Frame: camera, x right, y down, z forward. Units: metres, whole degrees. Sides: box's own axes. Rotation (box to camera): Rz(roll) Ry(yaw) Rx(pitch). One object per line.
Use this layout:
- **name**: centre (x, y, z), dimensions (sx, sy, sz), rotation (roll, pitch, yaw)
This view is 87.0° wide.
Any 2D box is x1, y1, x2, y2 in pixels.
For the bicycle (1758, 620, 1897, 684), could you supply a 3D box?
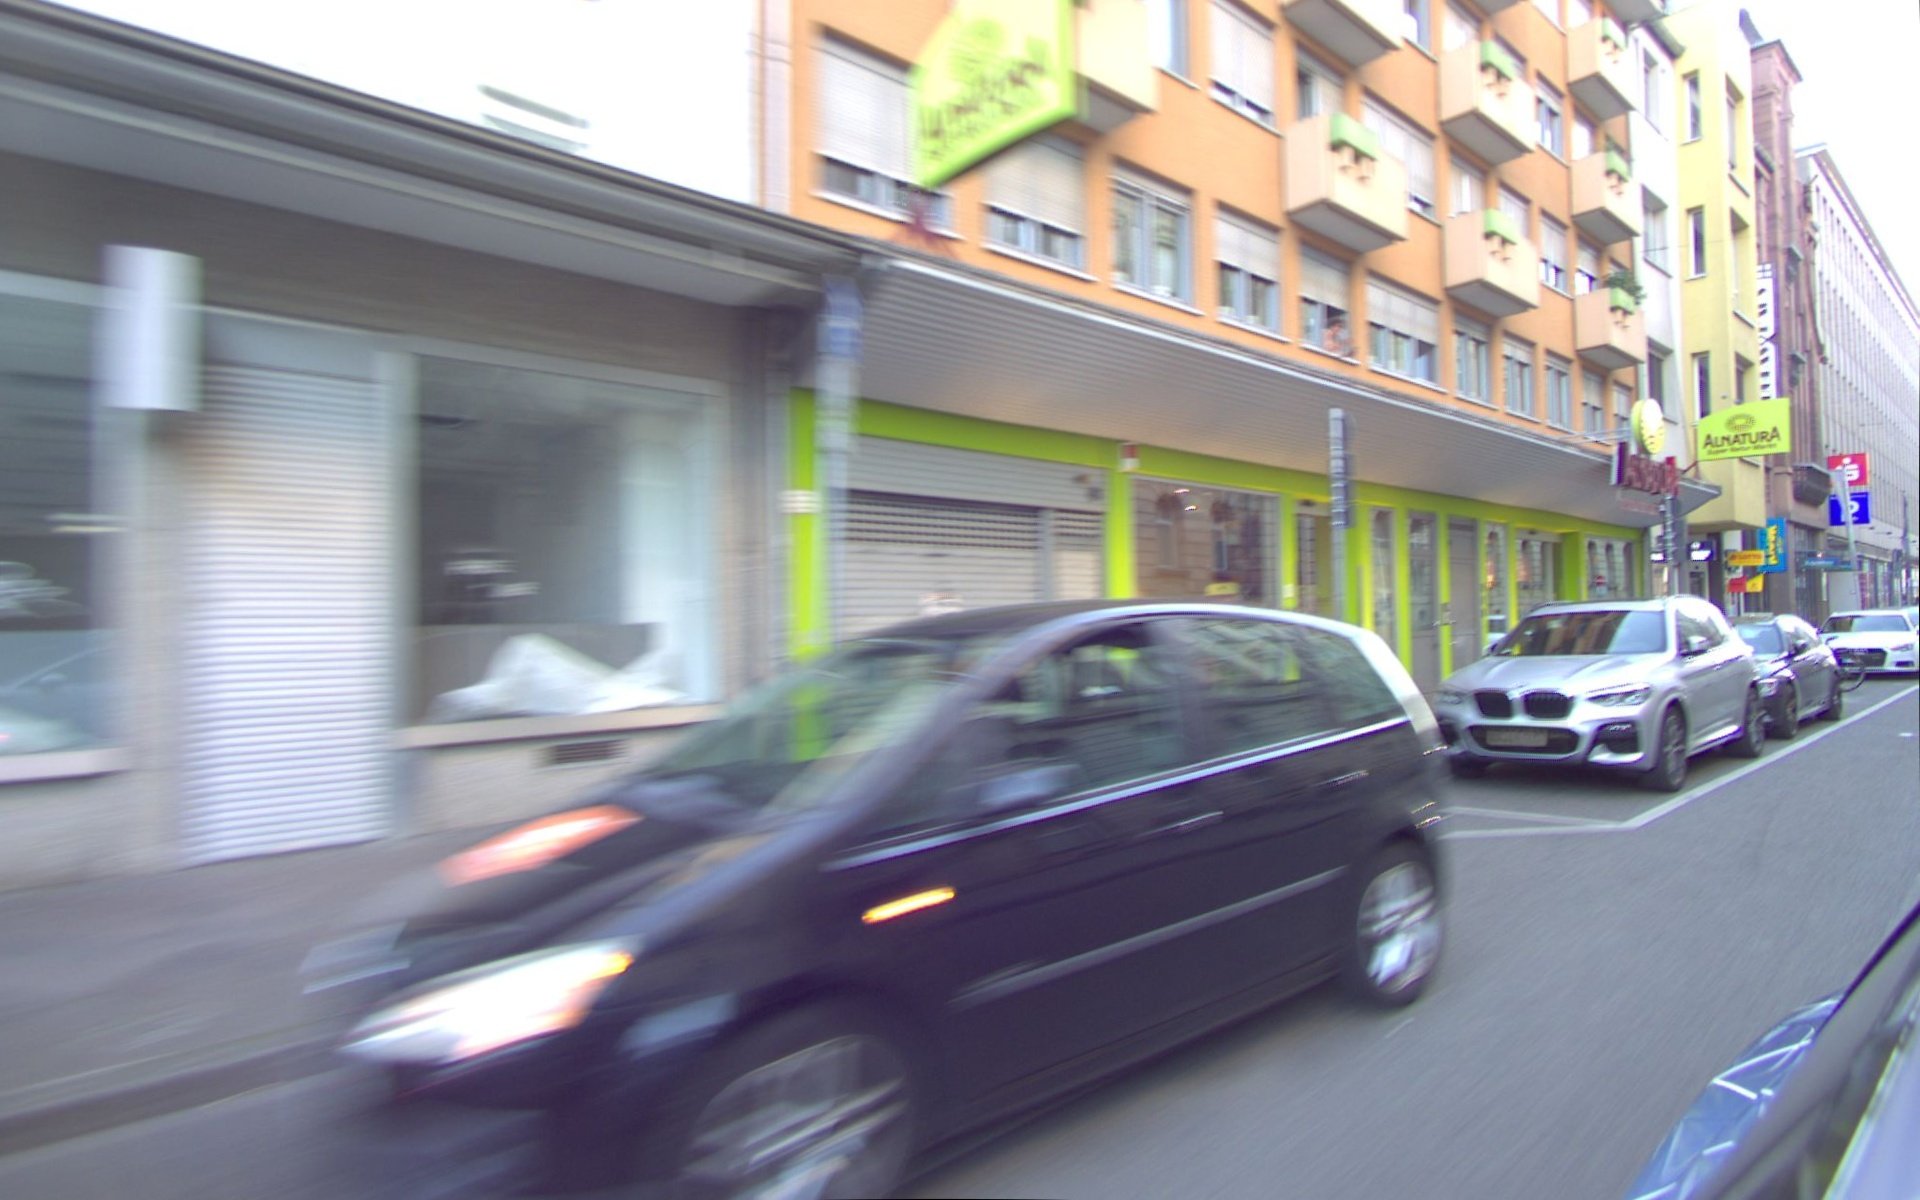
- **bicycle**: centre (15.270, 0.907, 17.845), dimensions (1.708, 1.069, 0.658), rotation (-2, -2, 9)

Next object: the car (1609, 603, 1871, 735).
- **car**: centre (10.331, 0.810, 13.263), dimensions (4.672, 1.433, 1.694), rotation (0, -4, -40)

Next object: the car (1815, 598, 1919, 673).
- **car**: centre (19.769, 0.730, 21.660), dimensions (4.561, 1.430, 1.692), rotation (0, -4, -44)

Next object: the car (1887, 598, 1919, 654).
- **car**: centre (27.456, 0.680, 28.217), dimensions (4.417, 1.472, 1.689), rotation (0, -4, -40)

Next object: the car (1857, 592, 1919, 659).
- **car**: centre (23.596, 0.605, 25.004), dimensions (4.101, 1.536, 1.620), rotation (0, -4, -42)

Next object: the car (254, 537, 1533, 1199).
- **car**: centre (0.092, 0.752, 3.737), dimensions (4.402, 1.631, 1.798), rotation (0, -3, -36)

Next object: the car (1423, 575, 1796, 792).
- **car**: centre (6.623, 0.701, 10.090), dimensions (4.672, 1.690, 1.754), rotation (0, -4, -40)
